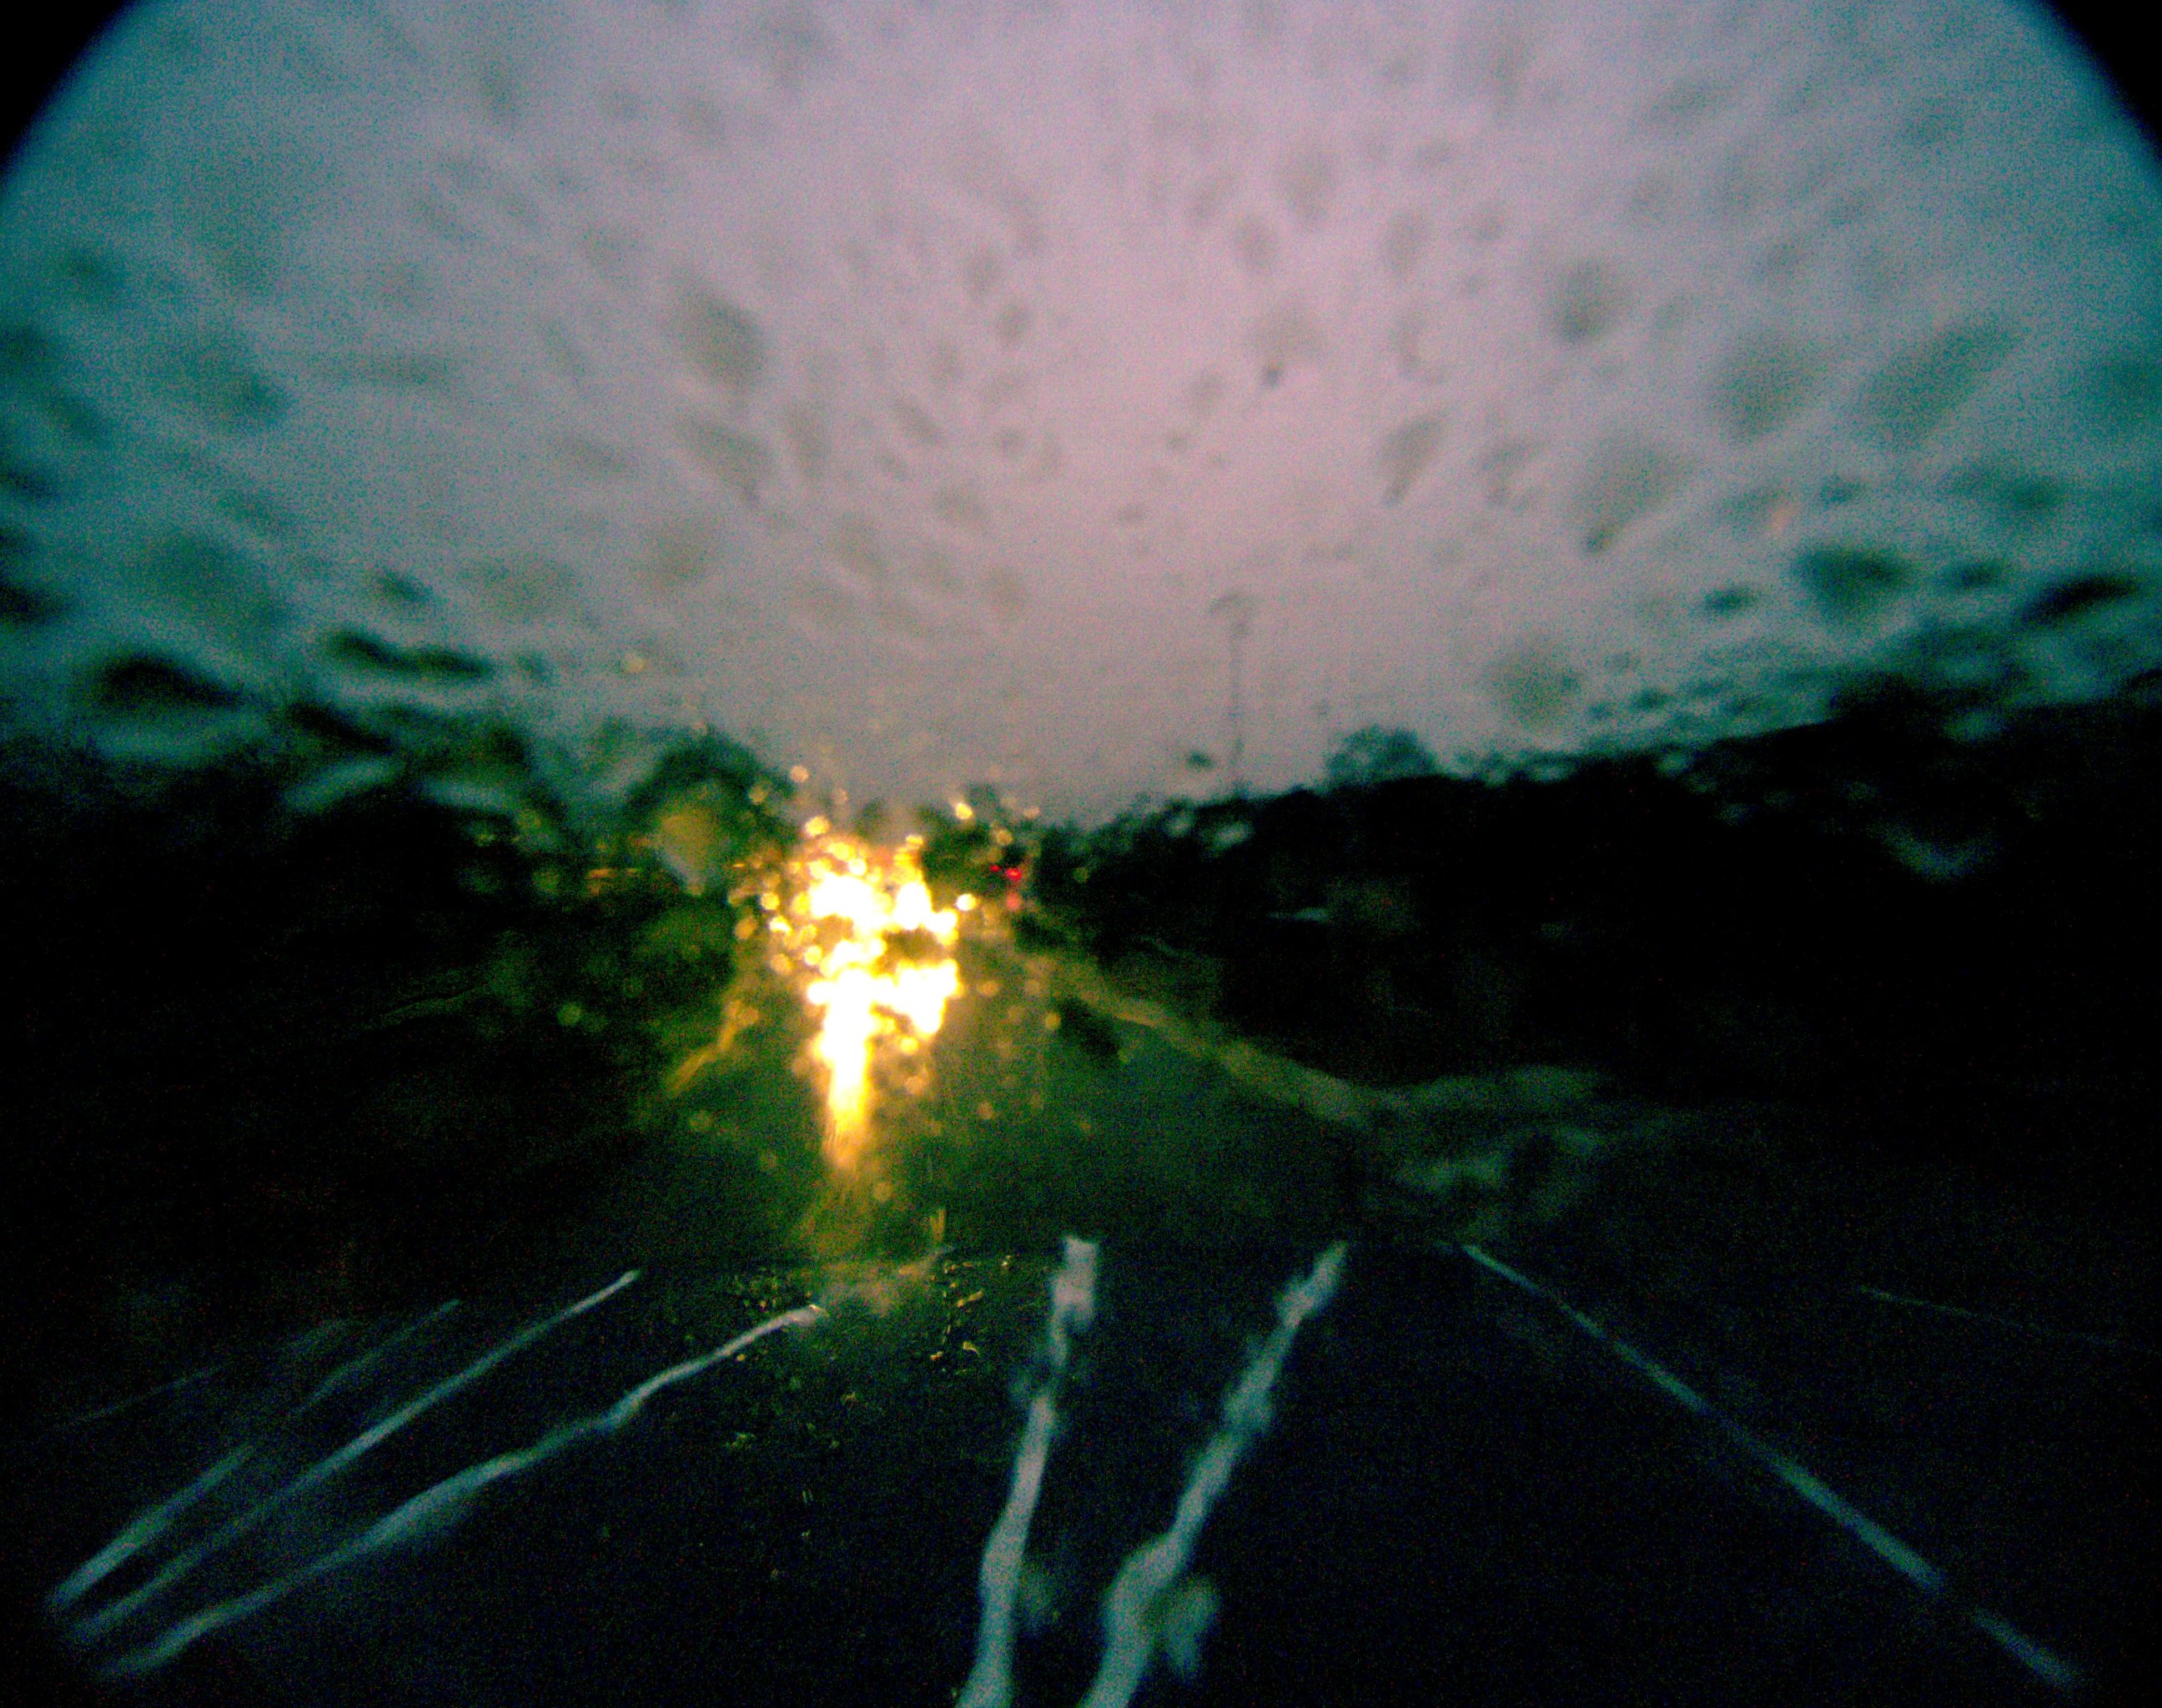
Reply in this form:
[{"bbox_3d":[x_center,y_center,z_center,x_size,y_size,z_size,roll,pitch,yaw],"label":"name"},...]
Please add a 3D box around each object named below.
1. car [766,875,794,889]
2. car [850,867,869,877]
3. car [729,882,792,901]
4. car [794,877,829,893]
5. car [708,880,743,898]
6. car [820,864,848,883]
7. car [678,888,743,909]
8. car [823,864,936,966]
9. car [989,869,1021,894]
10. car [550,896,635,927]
[{"bbox_3d":[-33.825,3.117,85.393,3.249,1.508,1.723,-1,1,44],"label":"car"},{"bbox_3d":[-31.004,2.499,106.142,1.717,1.404,4.004,-1,1,-28],"label":"car"},{"bbox_3d":[-27.492,3.211,65.253,4.713,1.388,1.899,-1,1,-33],"label":"car"},{"bbox_3d":[-26.492,3.021,74.815,1.771,1.421,3.813,0,1,6],"label":"car"},{"bbox_3d":[-34.875,3.471,74.517,1.830,1.629,4.458,-1,-1,-43],"label":"car"},{"bbox_3d":[-32.407,2.517,99.550,2.285,2.426,5.227,-1,1,-31],"label":"car"},{"bbox_3d":[-28.363,3.378,58.214,4.188,1.388,1.899,-1,1,-36],"label":"car"},{"bbox_3d":[-4.050,1.062,15.145,1.812,1.453,4.238,-3,3,-16],"label":"car"},{"bbox_3d":[-4.926,1.720,48.864,1.613,1.461,3.681,-1,0,-12],"label":"car"},{"bbox_3d":[-28.657,3.343,44.656,4.008,1.431,1.792,-1,1,-39],"label":"car"}]
